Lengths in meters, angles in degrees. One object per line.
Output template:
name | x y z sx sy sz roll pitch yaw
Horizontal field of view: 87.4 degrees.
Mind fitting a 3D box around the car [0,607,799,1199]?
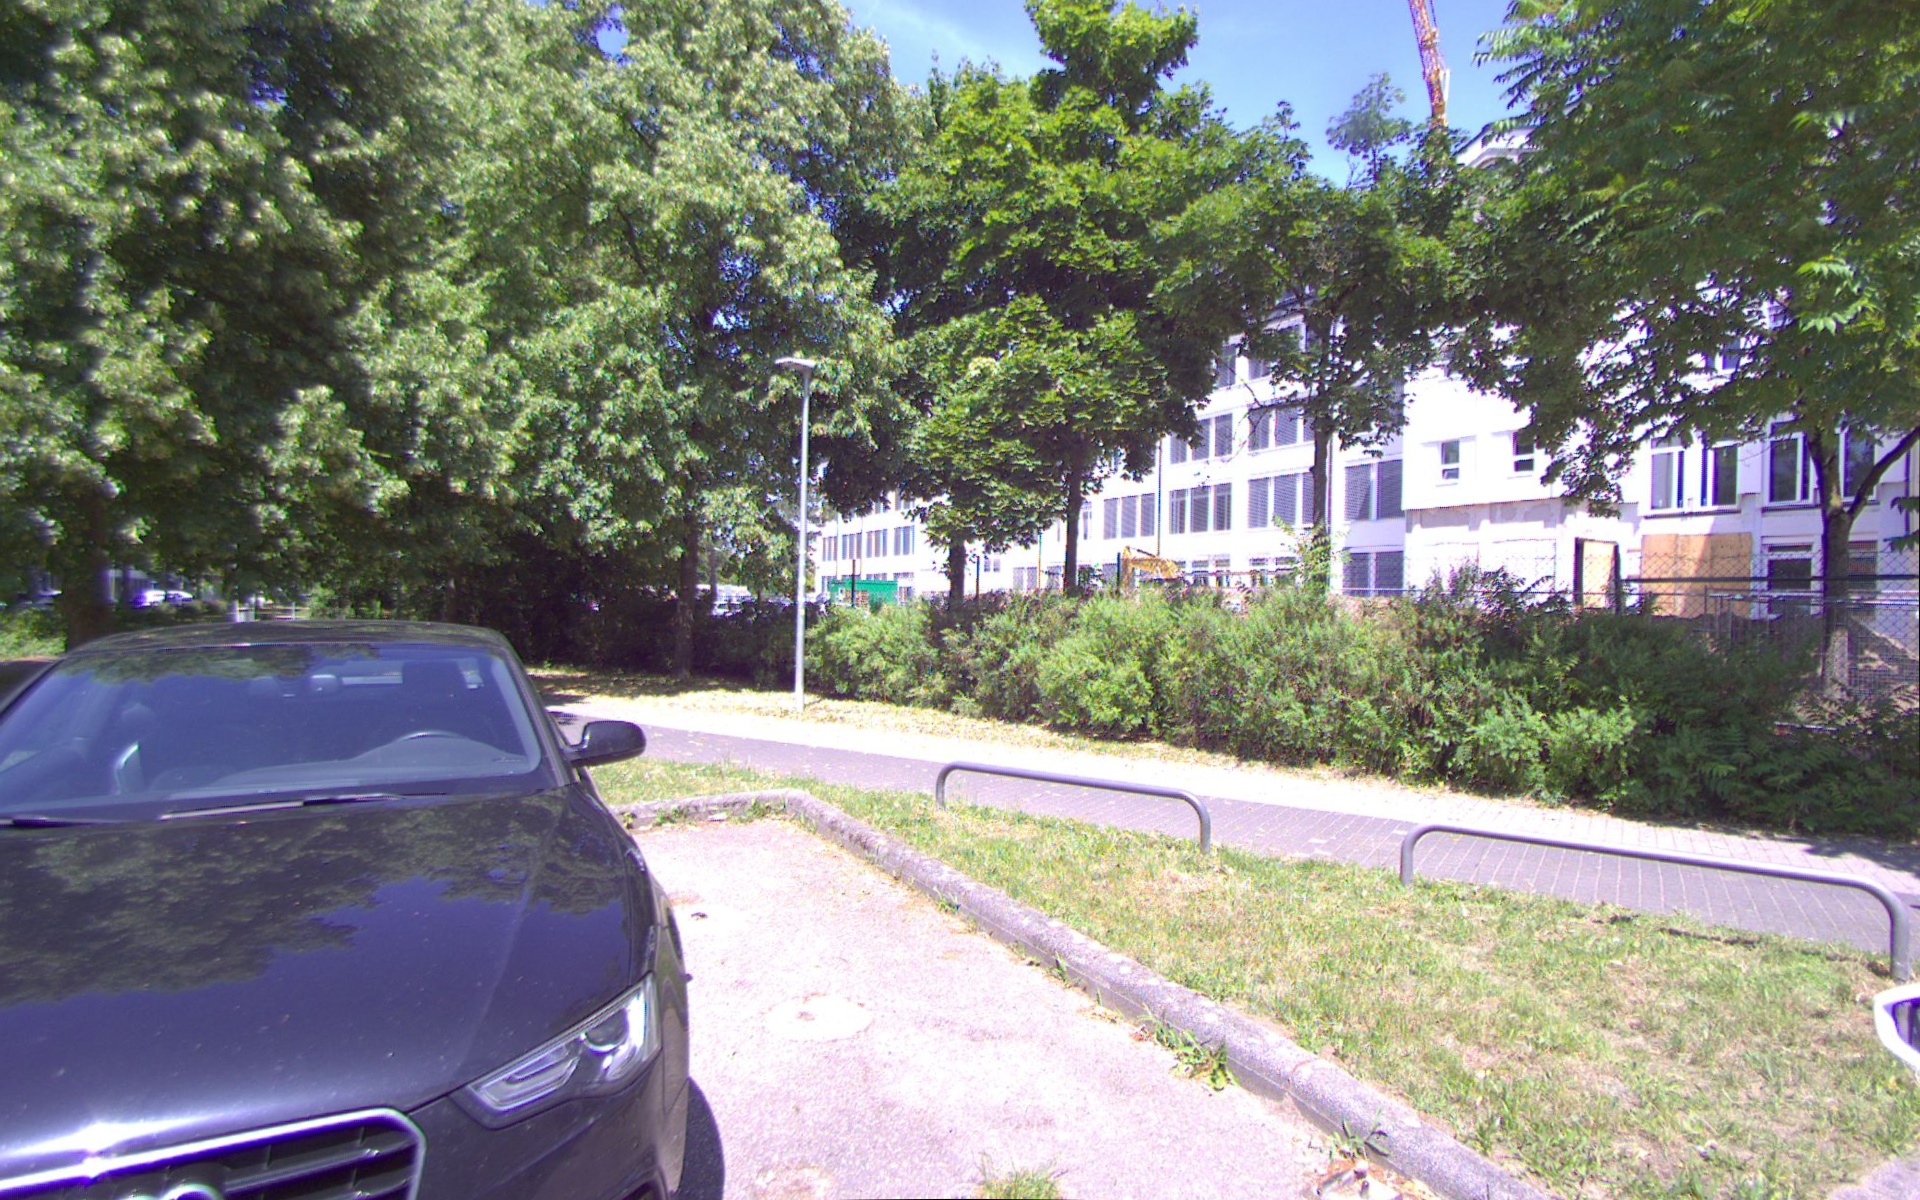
car | -2.144 0.752 3.214 1.997 1.398 4.413 0 0 -27

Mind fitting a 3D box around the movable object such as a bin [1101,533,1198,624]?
movable object such as a bin | 9.906 -1.063 52.924 1.973 4.430 5.687 2 -1 -25

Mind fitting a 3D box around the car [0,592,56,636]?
car | -37.210 0.483 37.873 4.293 1.631 1.917 2 -1 -32

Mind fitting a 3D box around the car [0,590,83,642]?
car | -38.878 0.622 41.240 3.956 2.040 1.983 2 -1 -32
